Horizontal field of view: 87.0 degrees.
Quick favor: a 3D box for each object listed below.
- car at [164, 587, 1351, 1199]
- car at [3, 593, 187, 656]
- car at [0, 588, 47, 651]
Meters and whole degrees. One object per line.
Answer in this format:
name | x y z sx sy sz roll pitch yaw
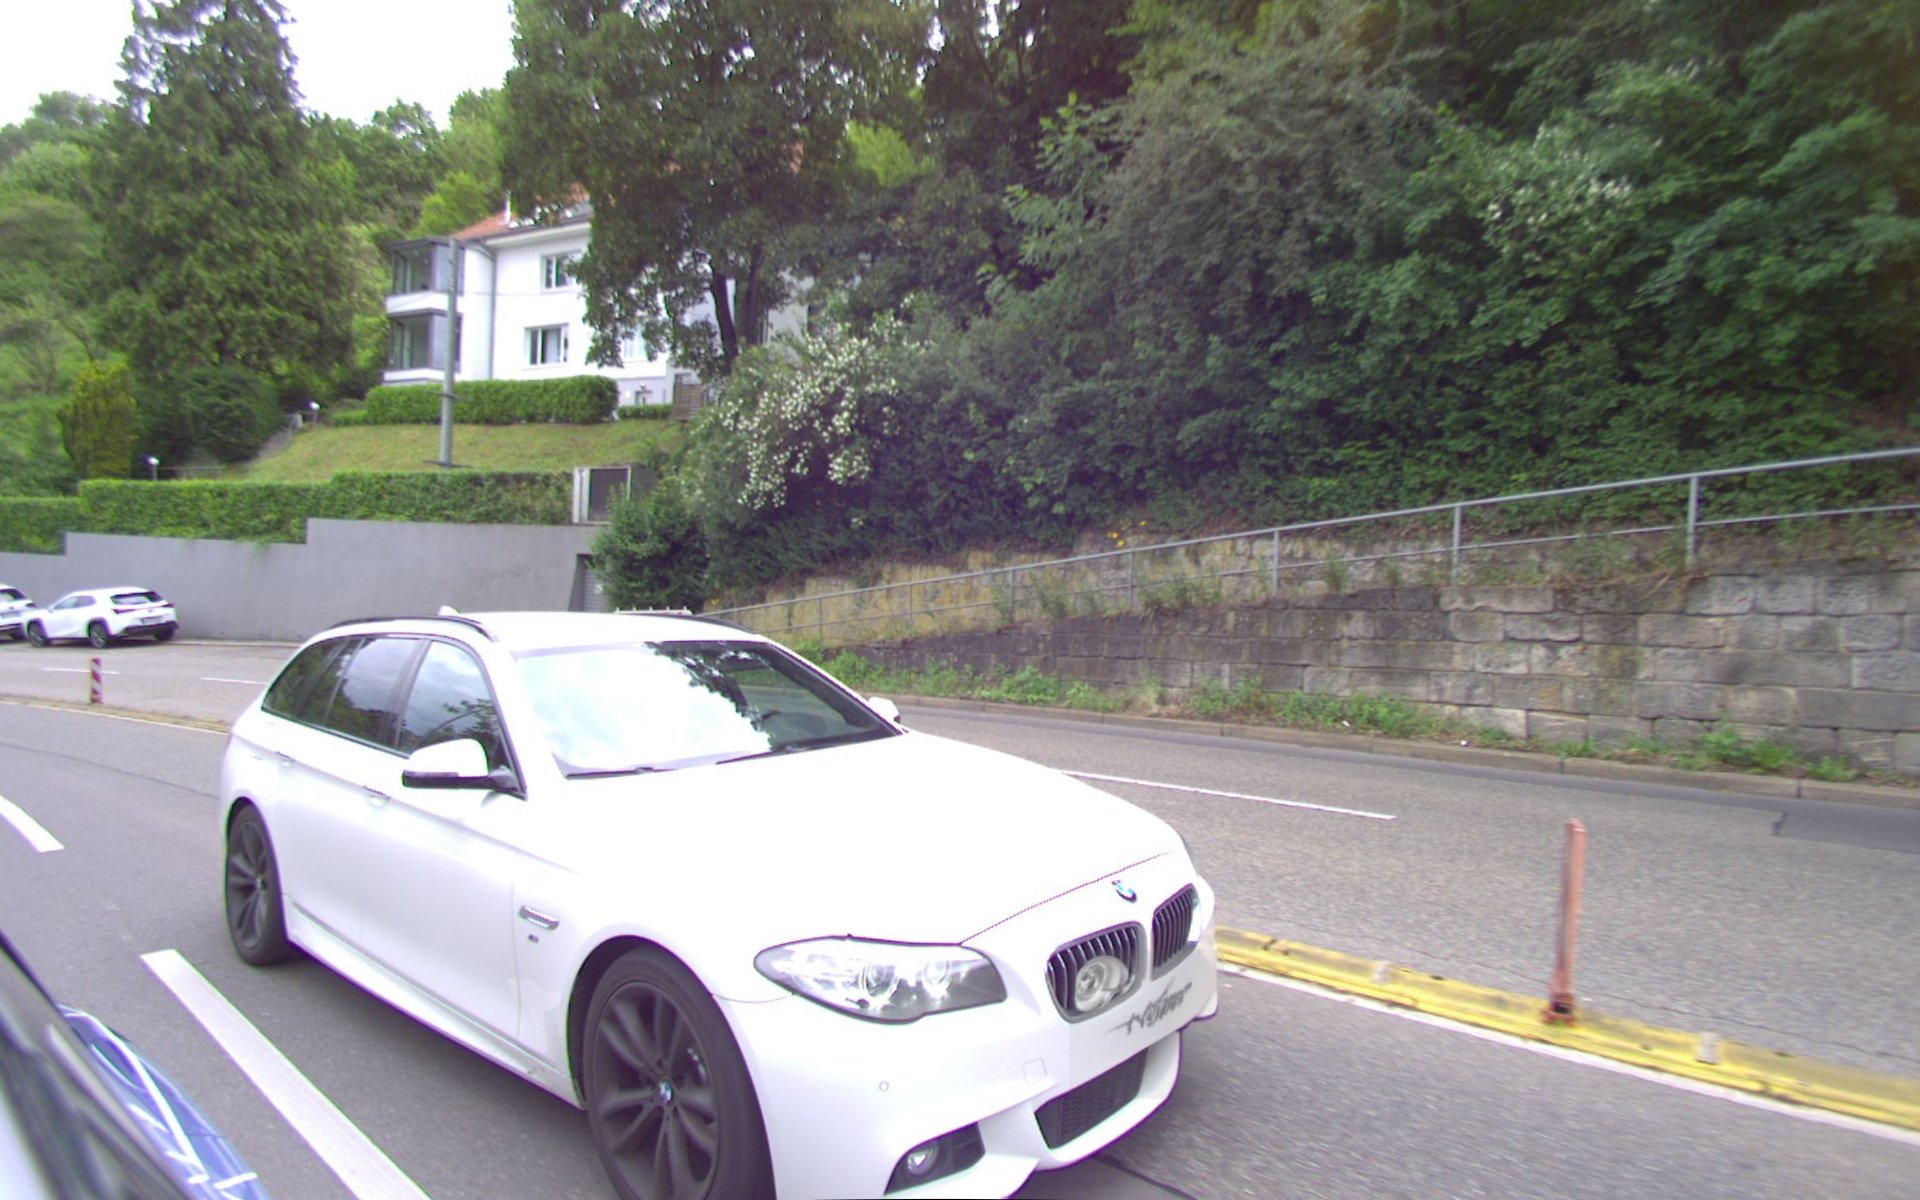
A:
car | -1.265 0.738 3.906 4.874 1.477 1.830 1 3 40
car | -23.932 0.618 28.021 4.439 1.584 1.828 0 2 19
car | -29.456 0.583 29.429 4.711 1.744 1.859 0 3 12
